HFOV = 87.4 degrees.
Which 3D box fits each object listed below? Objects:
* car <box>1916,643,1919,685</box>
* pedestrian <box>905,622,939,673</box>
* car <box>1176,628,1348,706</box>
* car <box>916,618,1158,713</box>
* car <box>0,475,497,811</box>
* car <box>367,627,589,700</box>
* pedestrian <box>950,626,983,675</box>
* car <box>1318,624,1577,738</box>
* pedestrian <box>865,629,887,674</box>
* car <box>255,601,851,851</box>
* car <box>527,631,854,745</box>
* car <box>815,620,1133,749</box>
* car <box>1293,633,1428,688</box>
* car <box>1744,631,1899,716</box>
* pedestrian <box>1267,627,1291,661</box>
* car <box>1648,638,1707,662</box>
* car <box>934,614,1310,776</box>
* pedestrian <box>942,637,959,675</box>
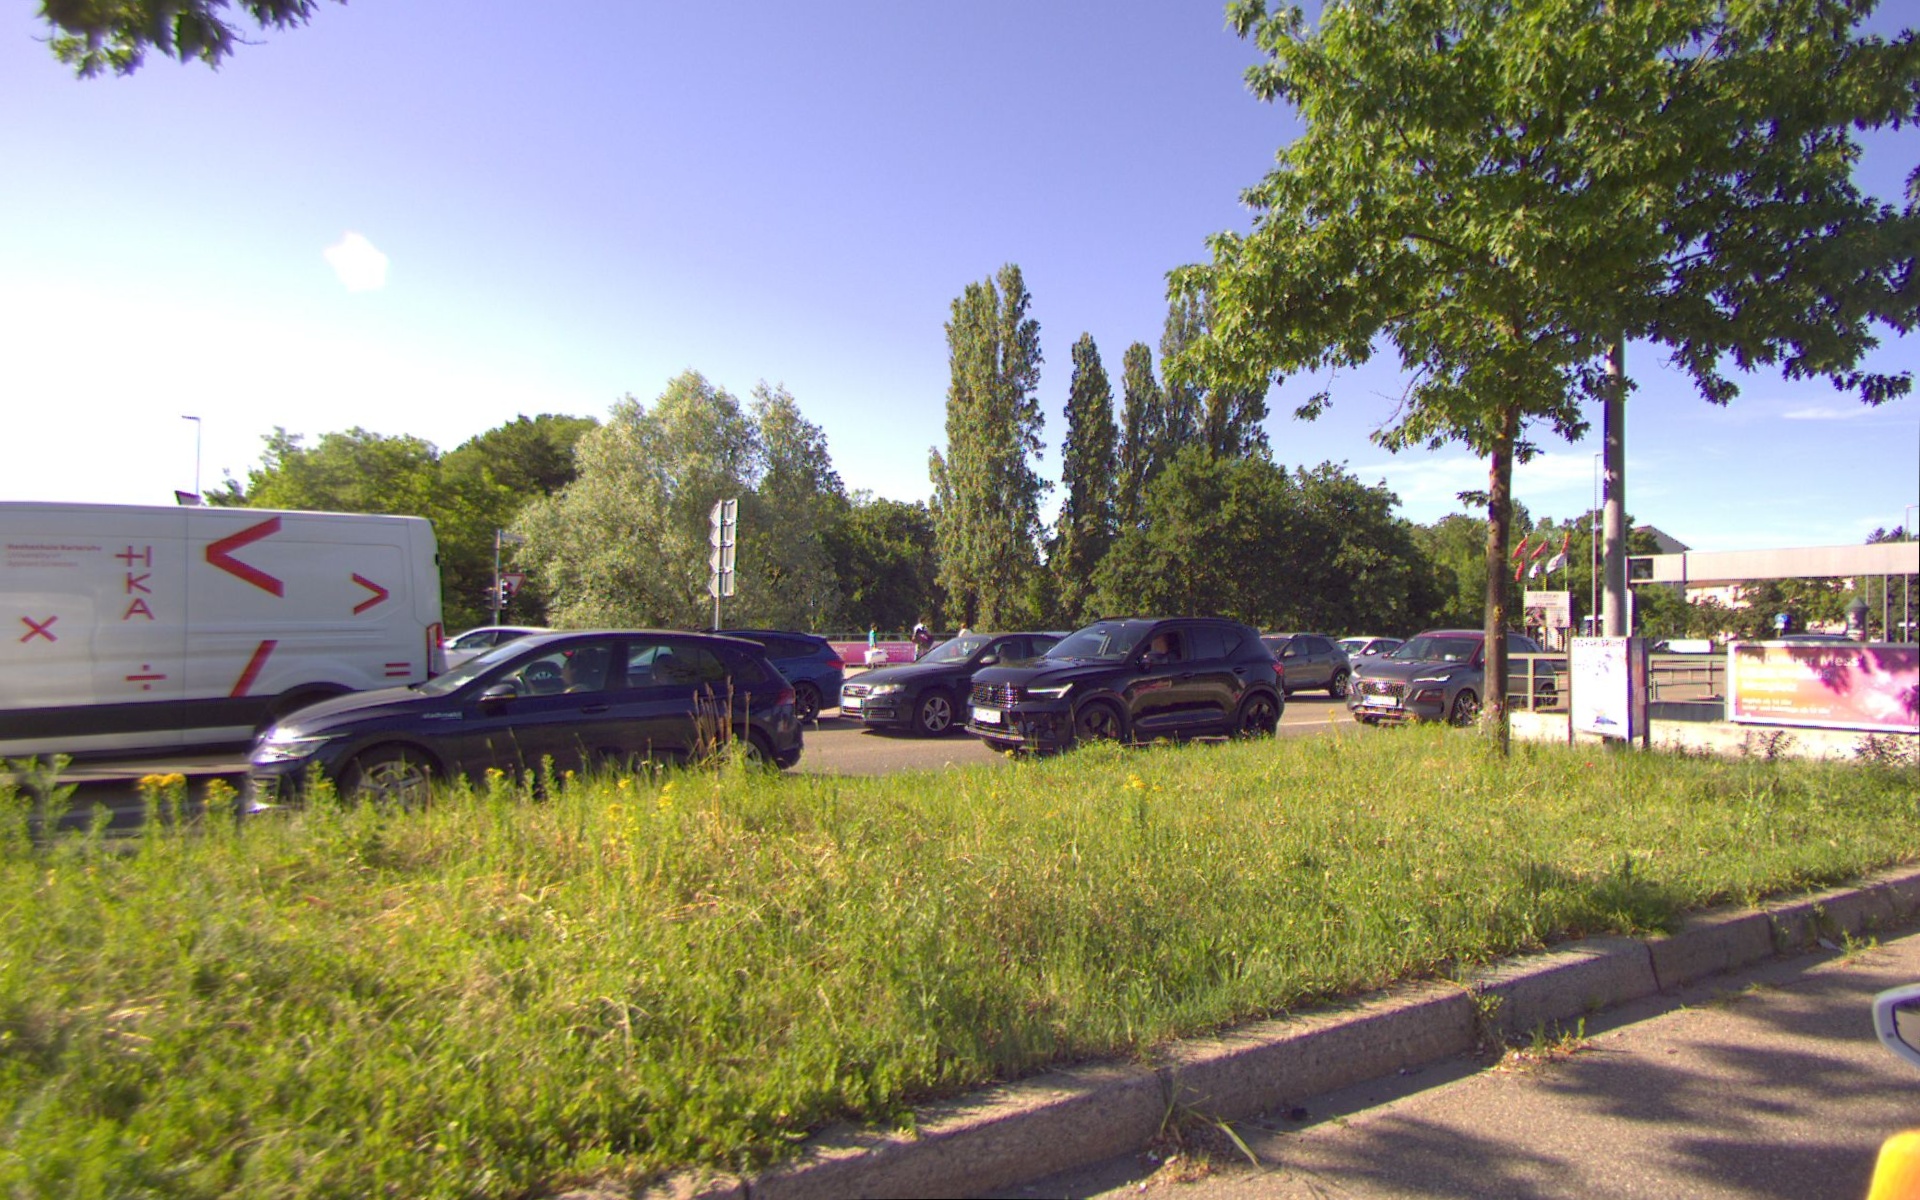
[{"bbox_3d":[36.773,2.351,36.765,3.957,1.520,1.734,2,-2,-33],"label":"car"},{"bbox_3d":[-1.304,1.621,34.352,0.814,1.688,0.786,4,-1,-29],"label":"pedestrian"},{"bbox_3d":[6.981,1.480,23.160,3.701,1.644,1.925,1,-1,-34],"label":"car"},{"bbox_3d":[1.549,1.189,19.448,4.459,1.644,1.925,1,-1,-34],"label":"car"},{"bbox_3d":[-7.563,0.358,8.904,6.029,2.610,1.924,1,-1,-36],"label":"car"},{"bbox_3d":[-11.019,1.450,23.224,4.248,1.556,1.783,1,0,-7],"label":"car"},{"bbox_3d":[0.224,1.777,35.238,0.814,1.651,0.786,4,-1,-29],"label":"pedestrian"},{"bbox_3d":[8.133,1.247,16.643,4.459,1.644,1.925,1,-1,-34],"label":"car"},{"bbox_3d":[-2.938,1.782,34.978,0.527,1.542,0.543,3,-1,-29],"label":"pedestrian"},{"bbox_3d":[-3.363,0.888,8.709,4.461,1.644,1.924,1,-2,-36],"label":"car"},{"bbox_3d":[-4.048,1.233,15.354,4.459,1.484,1.925,1,-2,-34],"label":"car"},{"bbox_3d":[0.285,1.150,14.951,4.459,1.644,1.925,1,-1,-34],"label":"car"},{"bbox_3d":[12.996,1.916,32.529,4.459,1.644,1.925,1,-1,-34],"label":"car"},{"bbox_3d":[22.506,1.842,26.208,4.288,2.040,1.982,2,-2,-33],"label":"car"},{"bbox_3d":[14.500,1.989,45.677,0.766,1.522,0.670,3,-1,-16],"label":"pedestrian"},{"bbox_3d":[63.459,4.379,88.865,4.186,2.040,1.991,-1,-2,40],"label":"car"},{"bbox_3d":[2.066,1.027,12.254,4.459,1.644,1.925,1,-1,-34],"label":"car"},{"bbox_3d":[-0.337,1.942,34.830,0.346,1.267,0.445,3,-1,-29],"label":"pedestrian"}]
